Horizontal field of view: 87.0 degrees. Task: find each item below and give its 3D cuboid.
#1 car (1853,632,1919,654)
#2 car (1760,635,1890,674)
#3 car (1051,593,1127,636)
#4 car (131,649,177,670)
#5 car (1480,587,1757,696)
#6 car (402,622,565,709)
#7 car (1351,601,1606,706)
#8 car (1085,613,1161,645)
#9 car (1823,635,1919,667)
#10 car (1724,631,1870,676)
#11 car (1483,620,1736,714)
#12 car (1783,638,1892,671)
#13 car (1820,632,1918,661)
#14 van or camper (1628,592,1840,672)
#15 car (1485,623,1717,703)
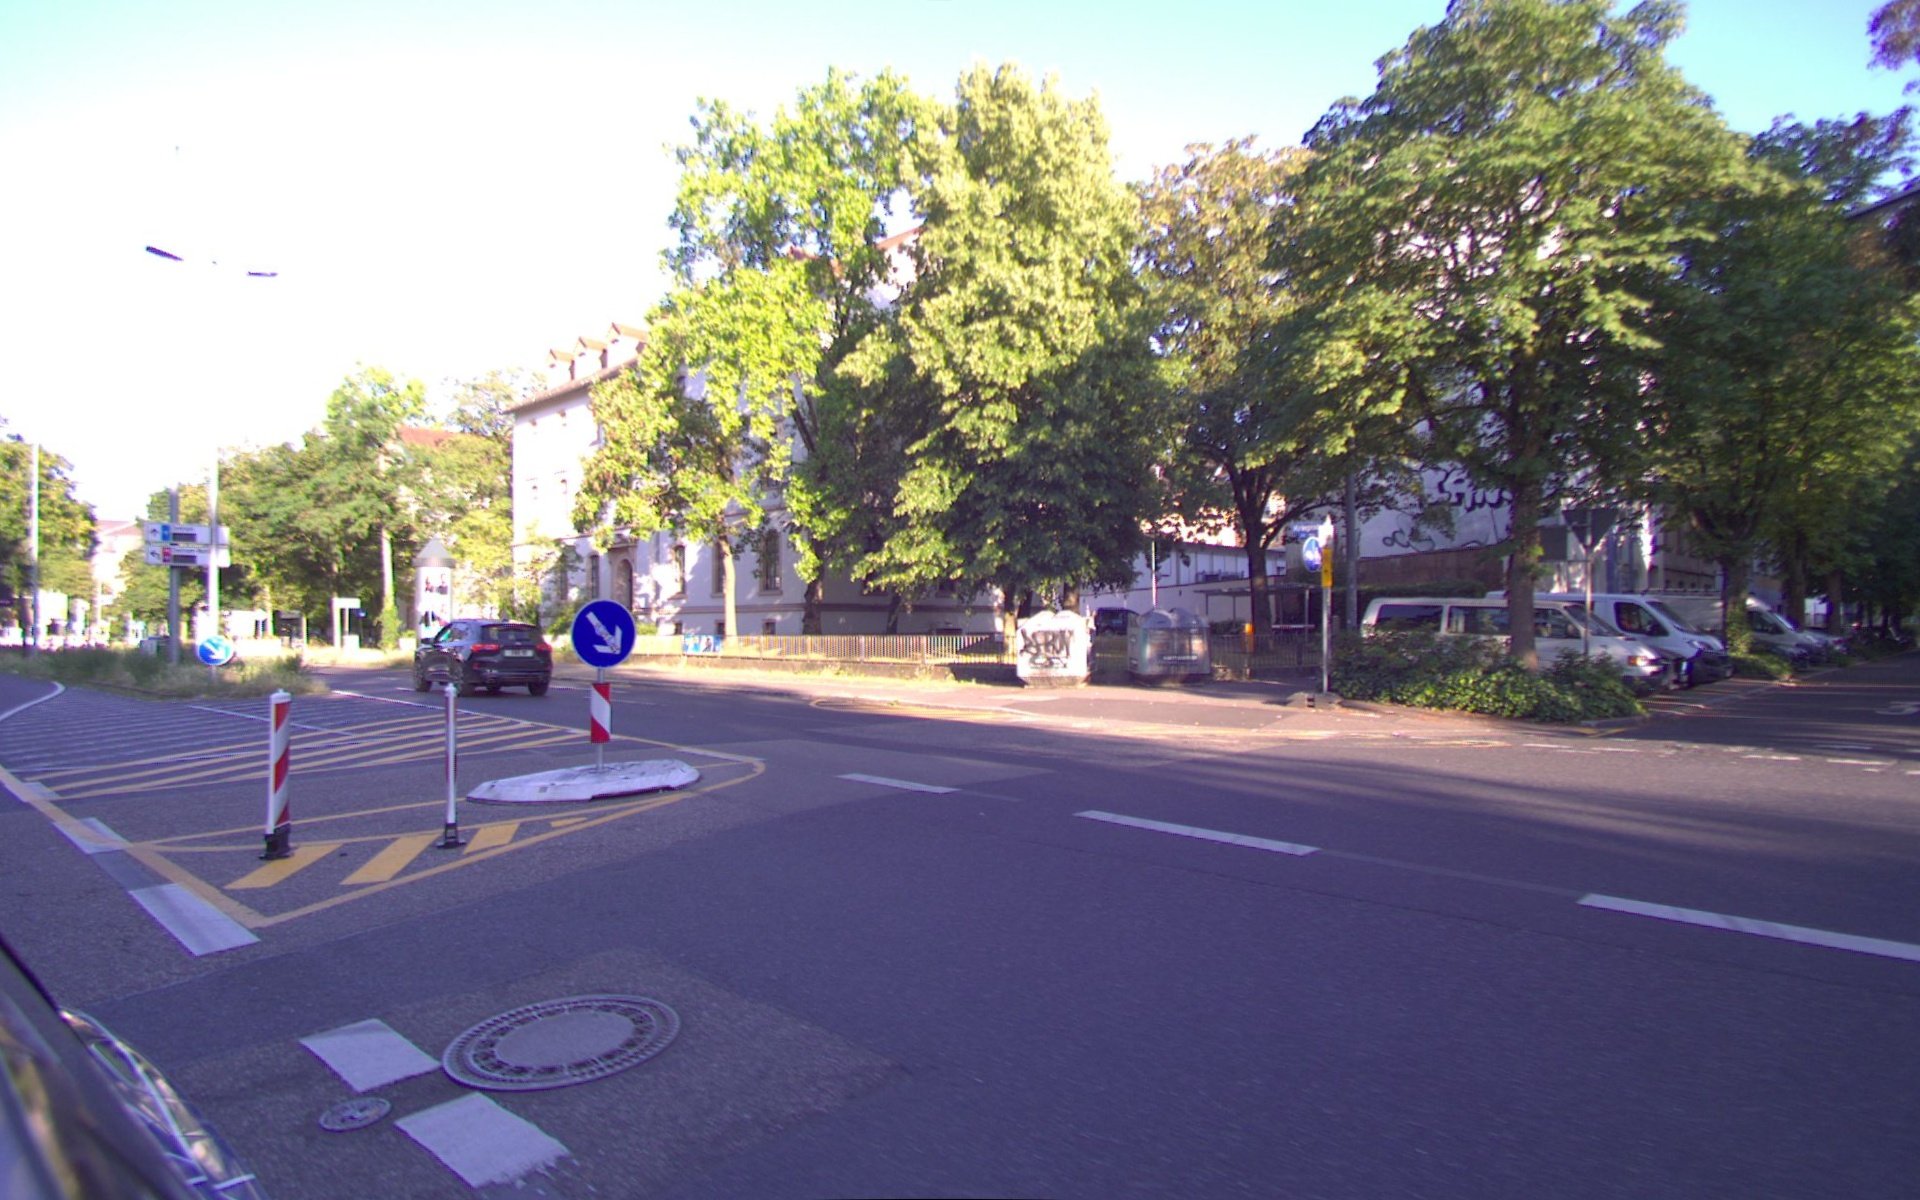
[{"bbox_3d":[69.078,3.191,75.162,4.044,1.541,1.880,-2,-1,44],"label":"car"},{"bbox_3d":[36.542,2.268,42.796,4.044,1.541,1.880,-2,-1,44],"label":"car"},{"bbox_3d":[5.991,0.676,47.194,3.222,1.837,1.862,-2,0,0],"label":"car"},{"bbox_3d":[-55.132,4.062,69.239,4.006,1.283,1.755,-2,-6,42],"label":"car"},{"bbox_3d":[15.553,0.943,24.159,2.188,2.306,5.105,0,-1,-42],"label":"car"},{"bbox_3d":[-10.594,1.410,22.336,1.854,1.719,4.571,5,-5,-43],"label":"car"},{"bbox_3d":[9.857,0.972,19.400,3.999,1.809,1.799,-2,-1,42],"label":"car"},{"bbox_3d":[9.710,1.721,60.505,4.048,1.842,1.966,0,-2,-9],"label":"car"},{"bbox_3d":[47.194,2.598,52.120,4.044,1.541,1.880,-2,-1,44],"label":"car"},{"bbox_3d":[31.219,1.966,37.818,4.044,1.541,1.880,-2,-1,44],"label":"car"},{"bbox_3d":[12.968,1.278,20.329,3.999,1.674,1.972,-2,-1,42],"label":"car"},{"bbox_3d":[44.100,2.697,50.908,4.044,1.541,1.880,-2,-1,44],"label":"car"},{"bbox_3d":[51.511,2.640,57.367,4.044,1.541,1.880,-2,-1,44],"label":"car"},{"bbox_3d":[26.048,1.068,34.208,5.429,2.490,2.042,-2,-2,44],"label":"van or camper"},{"bbox_3d":[13.983,1.331,22.184,3.999,1.551,1.972,-2,-1,42],"label":"car"}]
